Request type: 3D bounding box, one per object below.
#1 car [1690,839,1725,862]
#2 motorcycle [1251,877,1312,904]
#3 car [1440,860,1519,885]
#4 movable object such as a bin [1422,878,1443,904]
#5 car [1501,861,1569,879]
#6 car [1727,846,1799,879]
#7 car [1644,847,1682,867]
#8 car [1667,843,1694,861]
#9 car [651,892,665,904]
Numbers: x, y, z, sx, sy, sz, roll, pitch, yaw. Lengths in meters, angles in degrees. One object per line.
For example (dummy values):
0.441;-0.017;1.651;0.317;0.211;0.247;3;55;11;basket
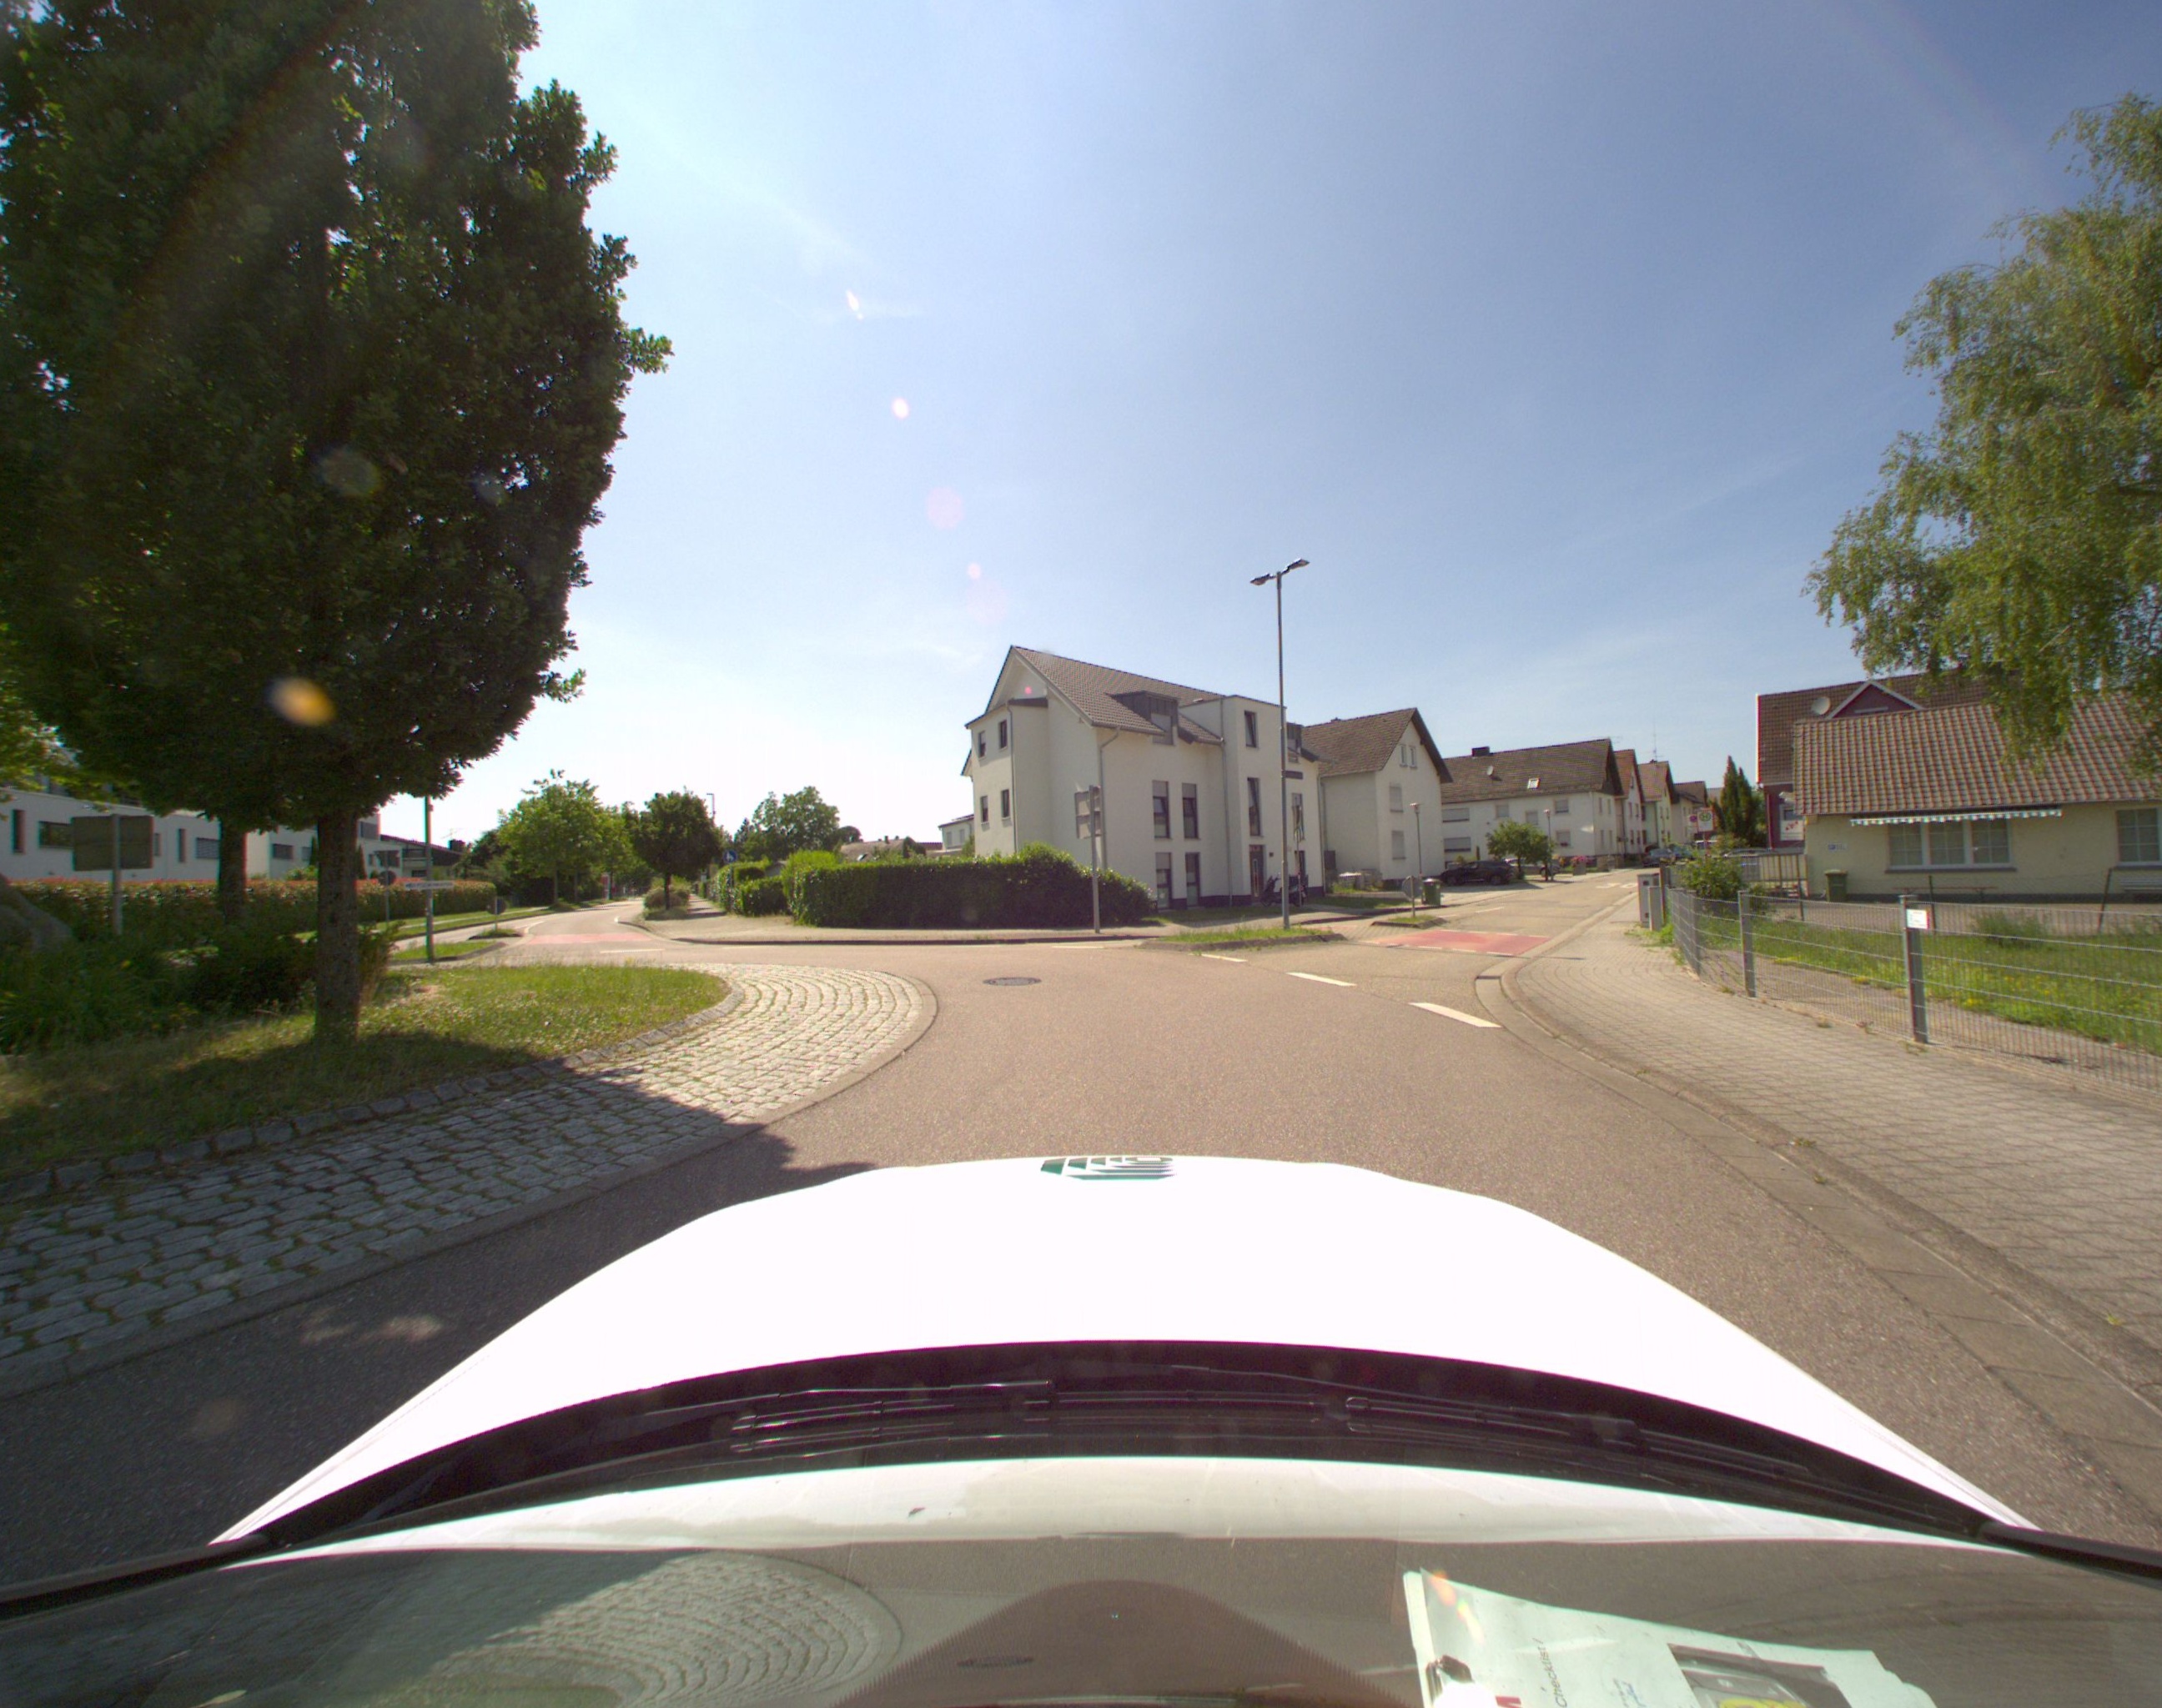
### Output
52.224;-0.240;67.869;1.834;1.787;4.024;-4;-4;43;car
7.941;1.463;32.360;0.675;1.014;2.340;2;-4;-43;motorcycle
24.163;1.127;49.424;3.948;1.383;1.671;-3;-2;41;car
14.722;1.538;34.117;0.461;1.083;0.639;-1;-2;-39;movable object such as a bin
32.871;1.163;58.989;3.948;1.190;1.852;-3;-2;41;car
35.212;0.452;42.081;2.718;1.598;1.178;-4;-4;43;car
48.318;0.278;67.599;1.975;1.553;4.024;-3;-2;44;car
57.951;-0.214;78.694;1.905;1.604;4.025;-3;-2;37;car
-69.998;7.276;134.804;1.933;1.886;3.965;0;-3;-26;car
